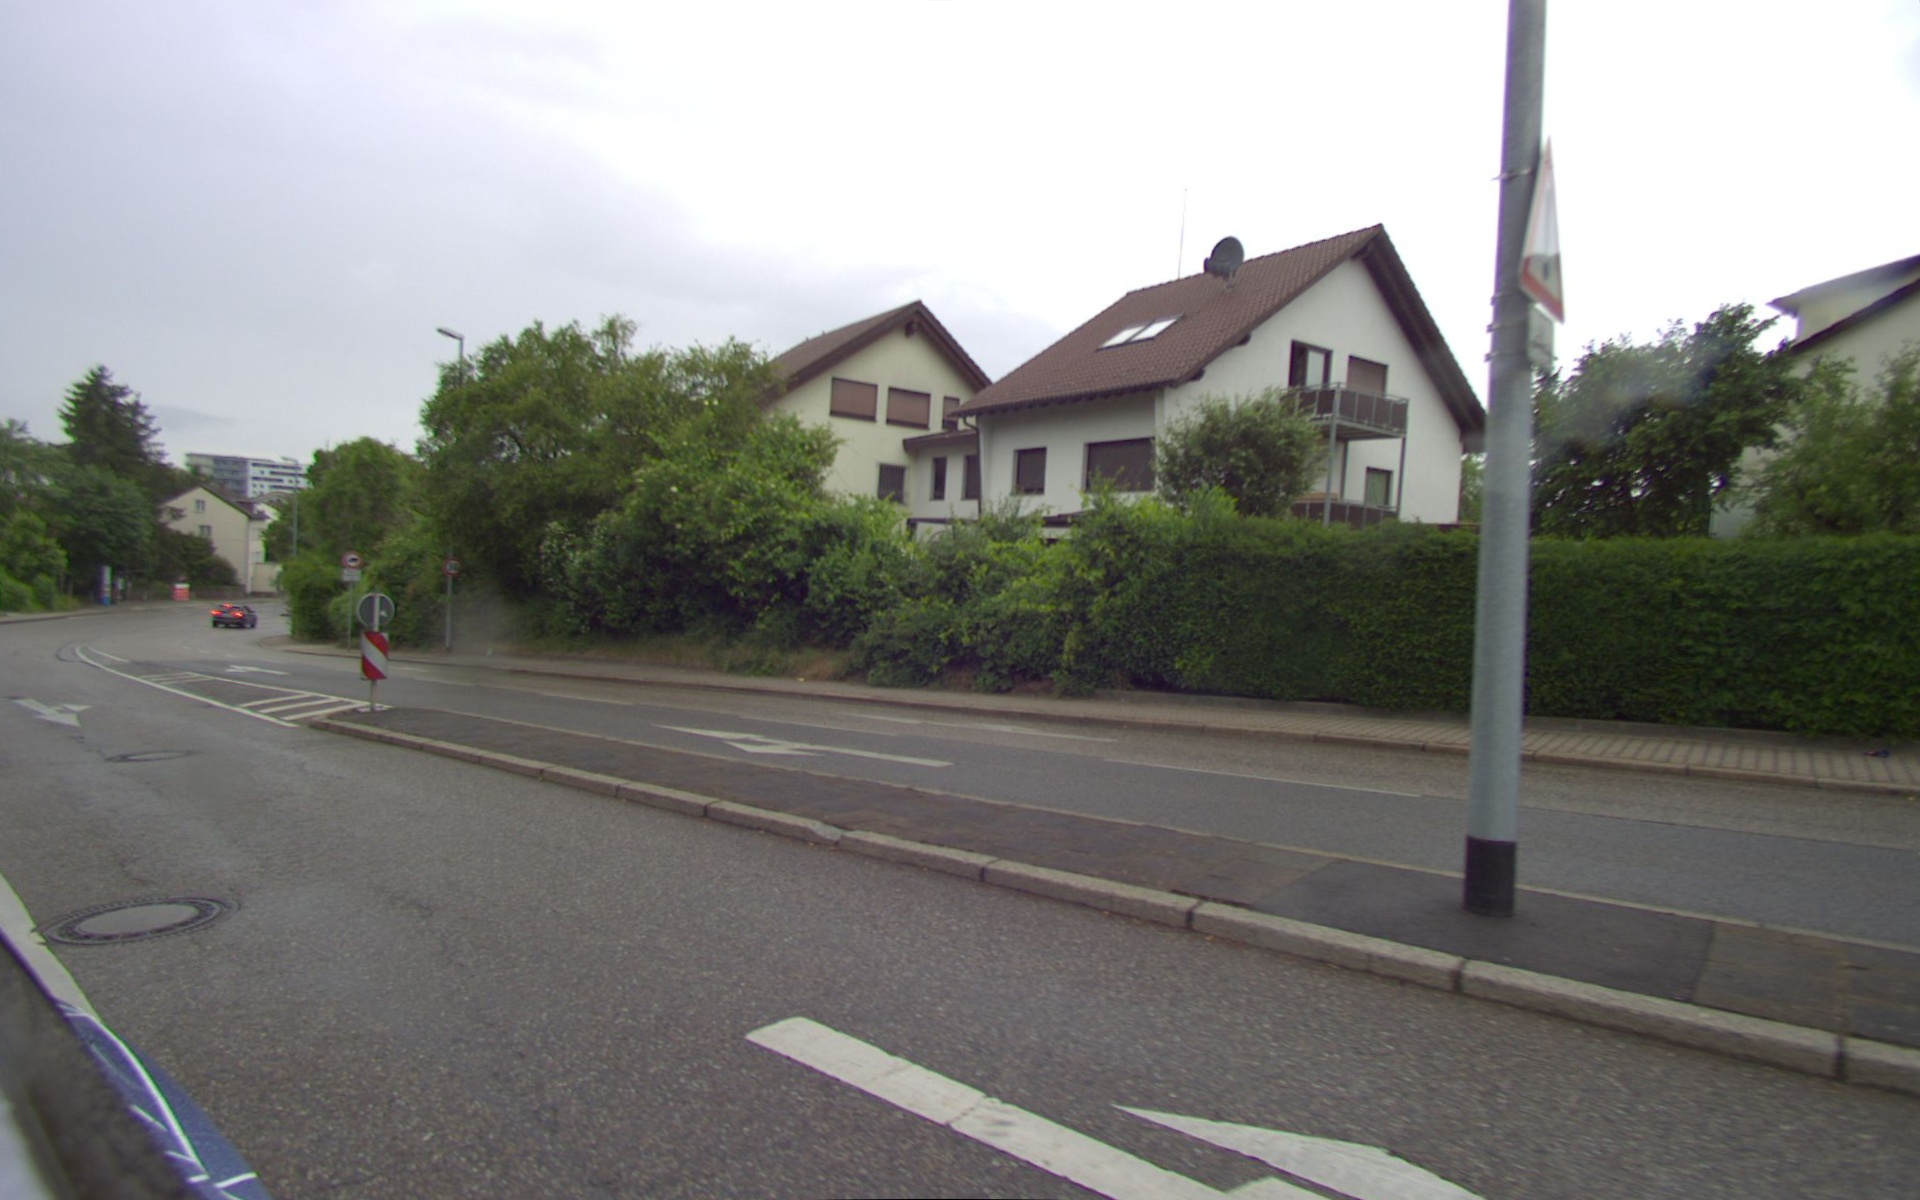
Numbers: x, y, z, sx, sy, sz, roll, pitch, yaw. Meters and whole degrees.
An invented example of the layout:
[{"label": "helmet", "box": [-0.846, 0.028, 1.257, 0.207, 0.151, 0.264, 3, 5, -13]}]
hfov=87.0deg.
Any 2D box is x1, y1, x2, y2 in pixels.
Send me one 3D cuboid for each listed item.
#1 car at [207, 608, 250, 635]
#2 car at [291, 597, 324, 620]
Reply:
[{"label": "car", "box": [-54.363, 1.590, 75.300, 1.928, 1.860, 4.013, 3, -3, -27]}, {"label": "car", "box": [-60.257, 0.820, 93.524, 2.096, 2.029, 4.099, 1, -1, -26]}]
